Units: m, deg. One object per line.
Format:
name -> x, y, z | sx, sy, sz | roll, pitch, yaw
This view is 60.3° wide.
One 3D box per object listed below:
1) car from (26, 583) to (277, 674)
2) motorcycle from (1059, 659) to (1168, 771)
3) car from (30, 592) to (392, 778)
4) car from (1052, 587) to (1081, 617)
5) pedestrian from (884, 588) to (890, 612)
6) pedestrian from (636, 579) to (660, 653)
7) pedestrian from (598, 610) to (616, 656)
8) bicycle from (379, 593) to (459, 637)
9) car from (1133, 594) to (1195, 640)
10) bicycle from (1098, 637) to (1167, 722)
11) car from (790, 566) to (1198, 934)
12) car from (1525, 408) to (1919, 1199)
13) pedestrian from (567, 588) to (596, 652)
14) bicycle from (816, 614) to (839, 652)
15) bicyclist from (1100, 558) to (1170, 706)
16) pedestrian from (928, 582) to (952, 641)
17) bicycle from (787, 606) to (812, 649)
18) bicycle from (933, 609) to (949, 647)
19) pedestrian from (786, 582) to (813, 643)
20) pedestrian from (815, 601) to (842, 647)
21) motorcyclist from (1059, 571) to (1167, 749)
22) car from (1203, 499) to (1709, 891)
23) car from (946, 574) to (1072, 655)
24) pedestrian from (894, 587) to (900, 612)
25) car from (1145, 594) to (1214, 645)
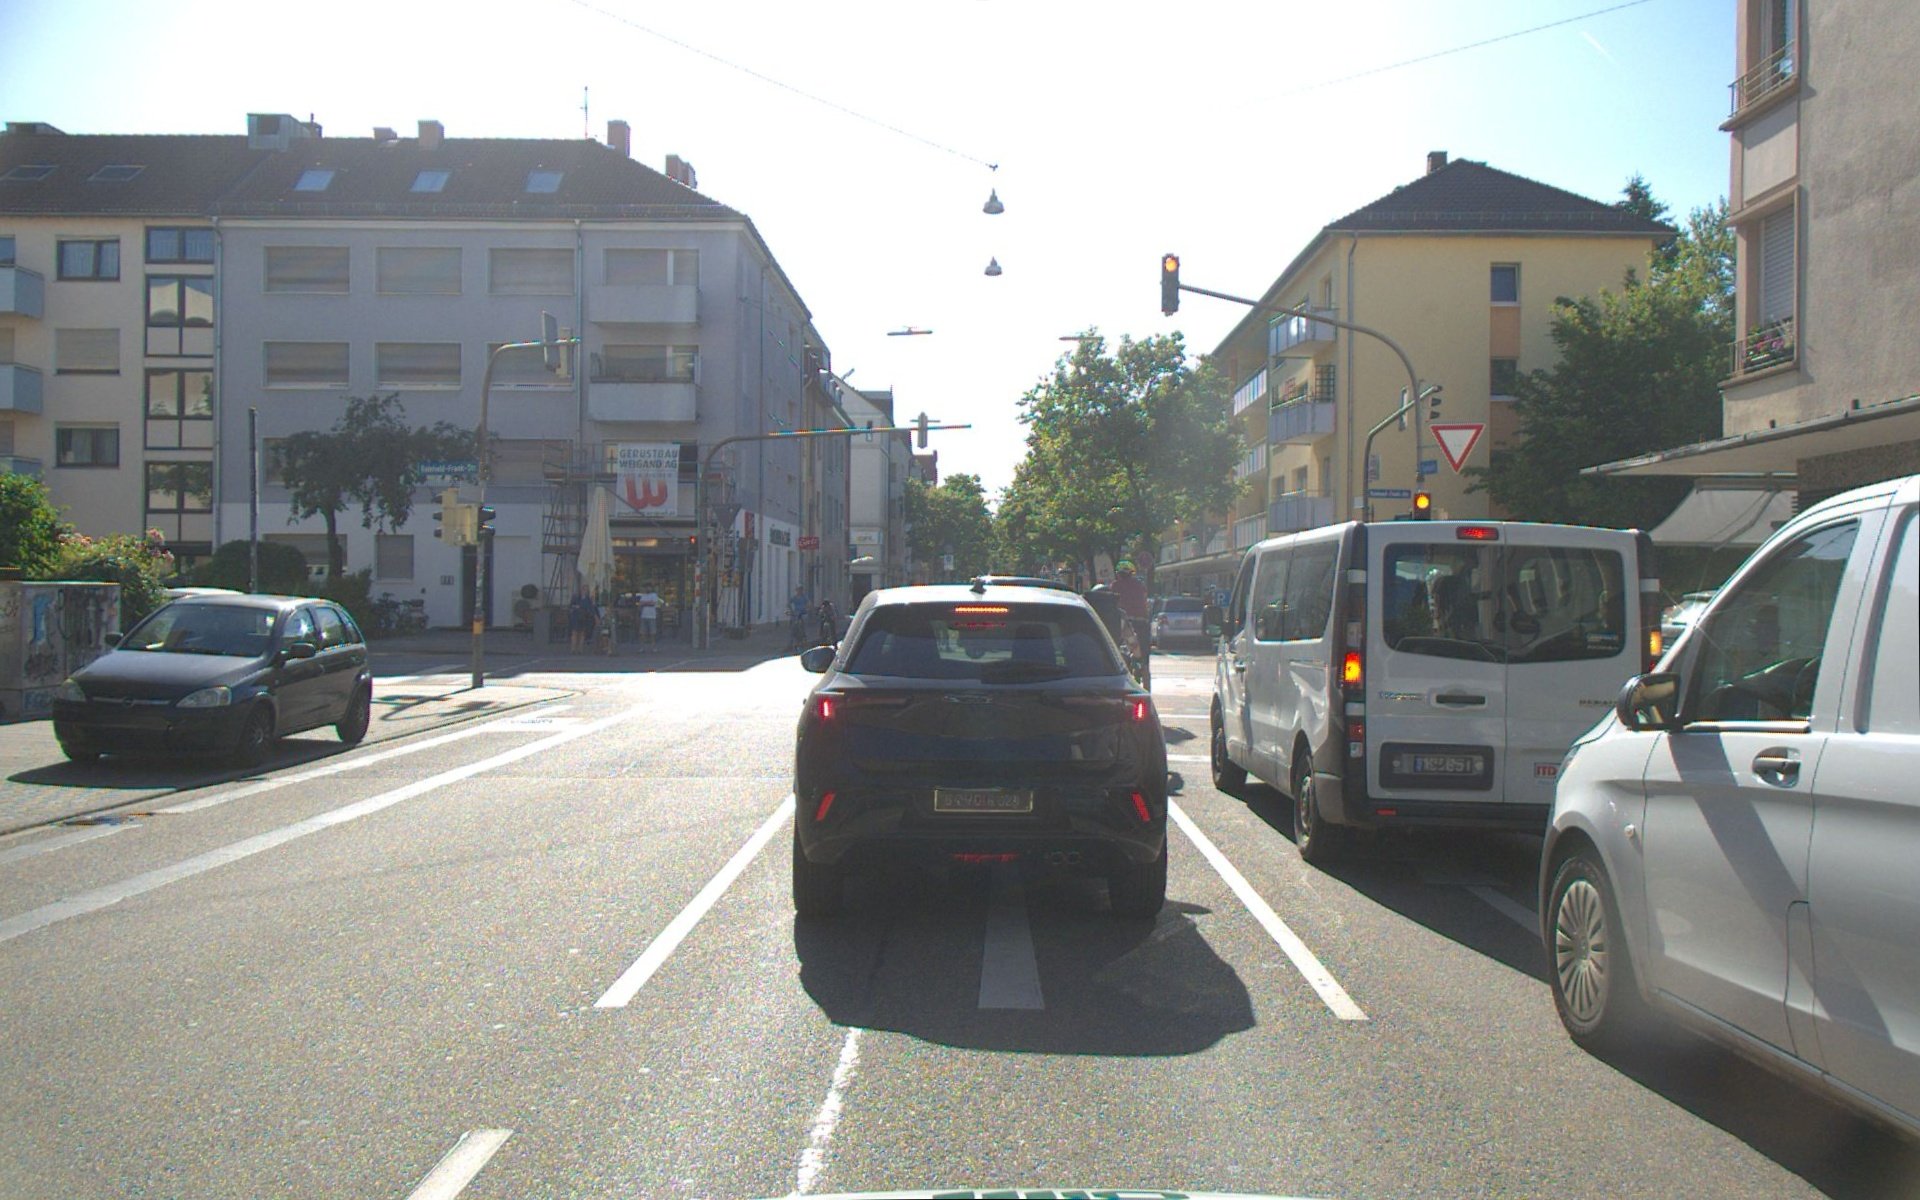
car -> -14.735, 0.496, 30.264 | 3.695, 1.563, 1.771 | 1, 0, 1
motorcycle -> 1.338, 0.995, 14.750 | 0.808, 0.860, 1.885 | 0, 0, 0
car -> -6.708, 0.683, 15.263 | 1.583, 1.450, 3.710 | 2, 0, 0
car -> 7.425, 0.148, 115.708 | 1.816, 2.049, 3.881 | 0, 0, 1
pedestrian -> -5.193, -0.008, 117.193 | 0.393, 1.704, 0.418 | 0, 0, 0
pedestrian -> -7.711, 0.388, 40.879 | 0.550, 1.806, 0.583 | 1, 0, -8
pedestrian -> -8.609, 0.803, 40.312 | 0.348, 1.111, 0.461 | 0, 0, -2
bicycle -> -14.956, 0.398, 45.725 | 2.066, 1.193, 0.735 | 0, 0, -23
car -> 6.703, 0.525, 54.606 | 1.600, 1.458, 4.000 | 0, 0, 1
bicycle -> 2.097, 0.951, 20.339 | 0.565, 0.920, 2.301 | 0, 0, -1
car -> 0.115, 0.635, 9.099 | 1.734, 1.557, 3.999 | 1, 0, -1
car -> 3.099, 0.553, 3.703 | 1.799, 1.901, 4.995 | 3, 0, -1
pedestrian -> -9.224, 0.492, 40.298 | 0.572, 1.547, 0.649 | 0, 0, -2
bicycle -> -3.731, 0.912, 46.662 | 0.511, 1.010, 2.339 | 0, 0, -1
bicyclist -> 2.118, 0.375, 20.180 | 0.675, 1.742, 1.413 | 0, 0, -1
pedestrian -> -0.561, 0.323, 46.368 | 0.666, 1.634, 0.762 | 0, 0, -1
bicycle -> -4.524, 0.762, 46.751 | 0.511, 1.167, 2.283 | 0, 0, -1
bicycle -> -0.530, 0.771, 46.407 | 0.434, 1.010, 2.068 | 0, 0, -1
pedestrian -> -4.500, 0.355, 46.483 | 0.692, 1.707, 0.802 | 0, 0, -1
pedestrian -> -3.691, 0.657, 46.393 | 0.692, 1.275, 0.802 | 0, 0, -1
motorcyclist -> 1.357, 0.518, 14.848 | 0.846, 1.528, 1.159 | 0, 0, 0
car -> 2.970, 0.486, 11.147 | 1.952, 2.014, 4.895 | 1, 0, 1
car -> 1.193, 0.307, 38.178 | 1.862, 1.758, 4.075 | 0, 0, 18
pedestrian -> -4.437, -0.038, 117.105 | 0.393, 1.704, 0.418 | 0, 0, 0
car -> 6.551, 0.566, 49.689 | 1.600, 1.458, 3.957 | 0, 0, 1
